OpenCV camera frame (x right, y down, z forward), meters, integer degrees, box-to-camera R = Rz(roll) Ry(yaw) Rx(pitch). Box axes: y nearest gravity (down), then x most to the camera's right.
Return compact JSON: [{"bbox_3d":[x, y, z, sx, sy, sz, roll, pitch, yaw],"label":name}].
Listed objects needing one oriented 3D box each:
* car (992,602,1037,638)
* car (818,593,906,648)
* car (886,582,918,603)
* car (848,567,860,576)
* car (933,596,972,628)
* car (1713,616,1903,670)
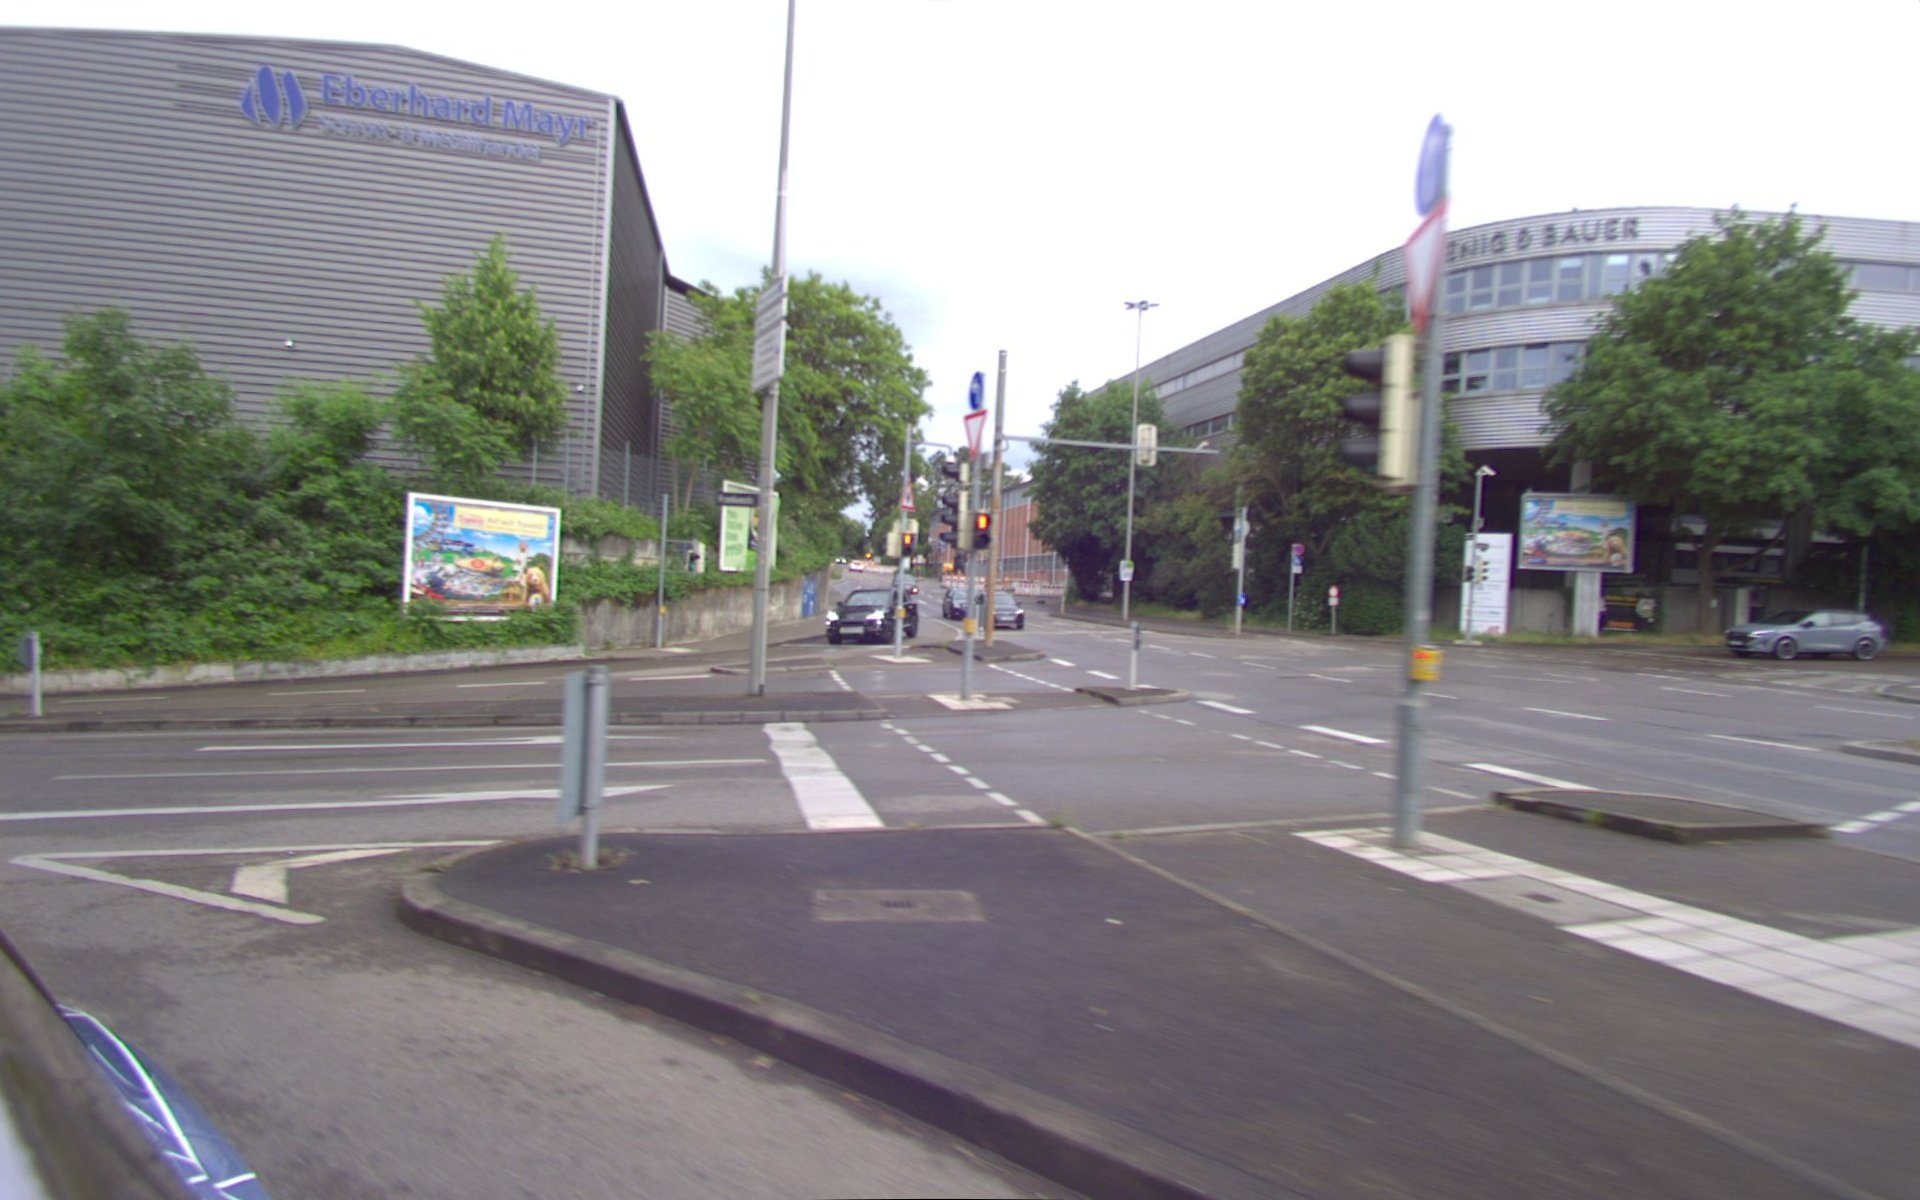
[{"bbox_3d":[2.130,0.777,40.291,1.575,1.269,3.756,-1,1,1],"label":"car"},{"bbox_3d":[-2.997,0.603,31.808,1.929,1.555,4.203,-1,1,6],"label":"car"},{"bbox_3d":[-4.542,-0.612,79.226,1.709,1.589,3.720,3,0,-14],"label":"car"},{"bbox_3d":[-15.615,-4.181,149.120,1.510,1.324,3.236,3,0,-8],"label":"car"},{"bbox_3d":[-0.324,0.523,47.338,1.729,1.380,3.756,-1,1,1],"label":"car"},{"bbox_3d":[27.154,1.353,32.517,4.321,1.612,2.034,0,0,1],"label":"car"}]
